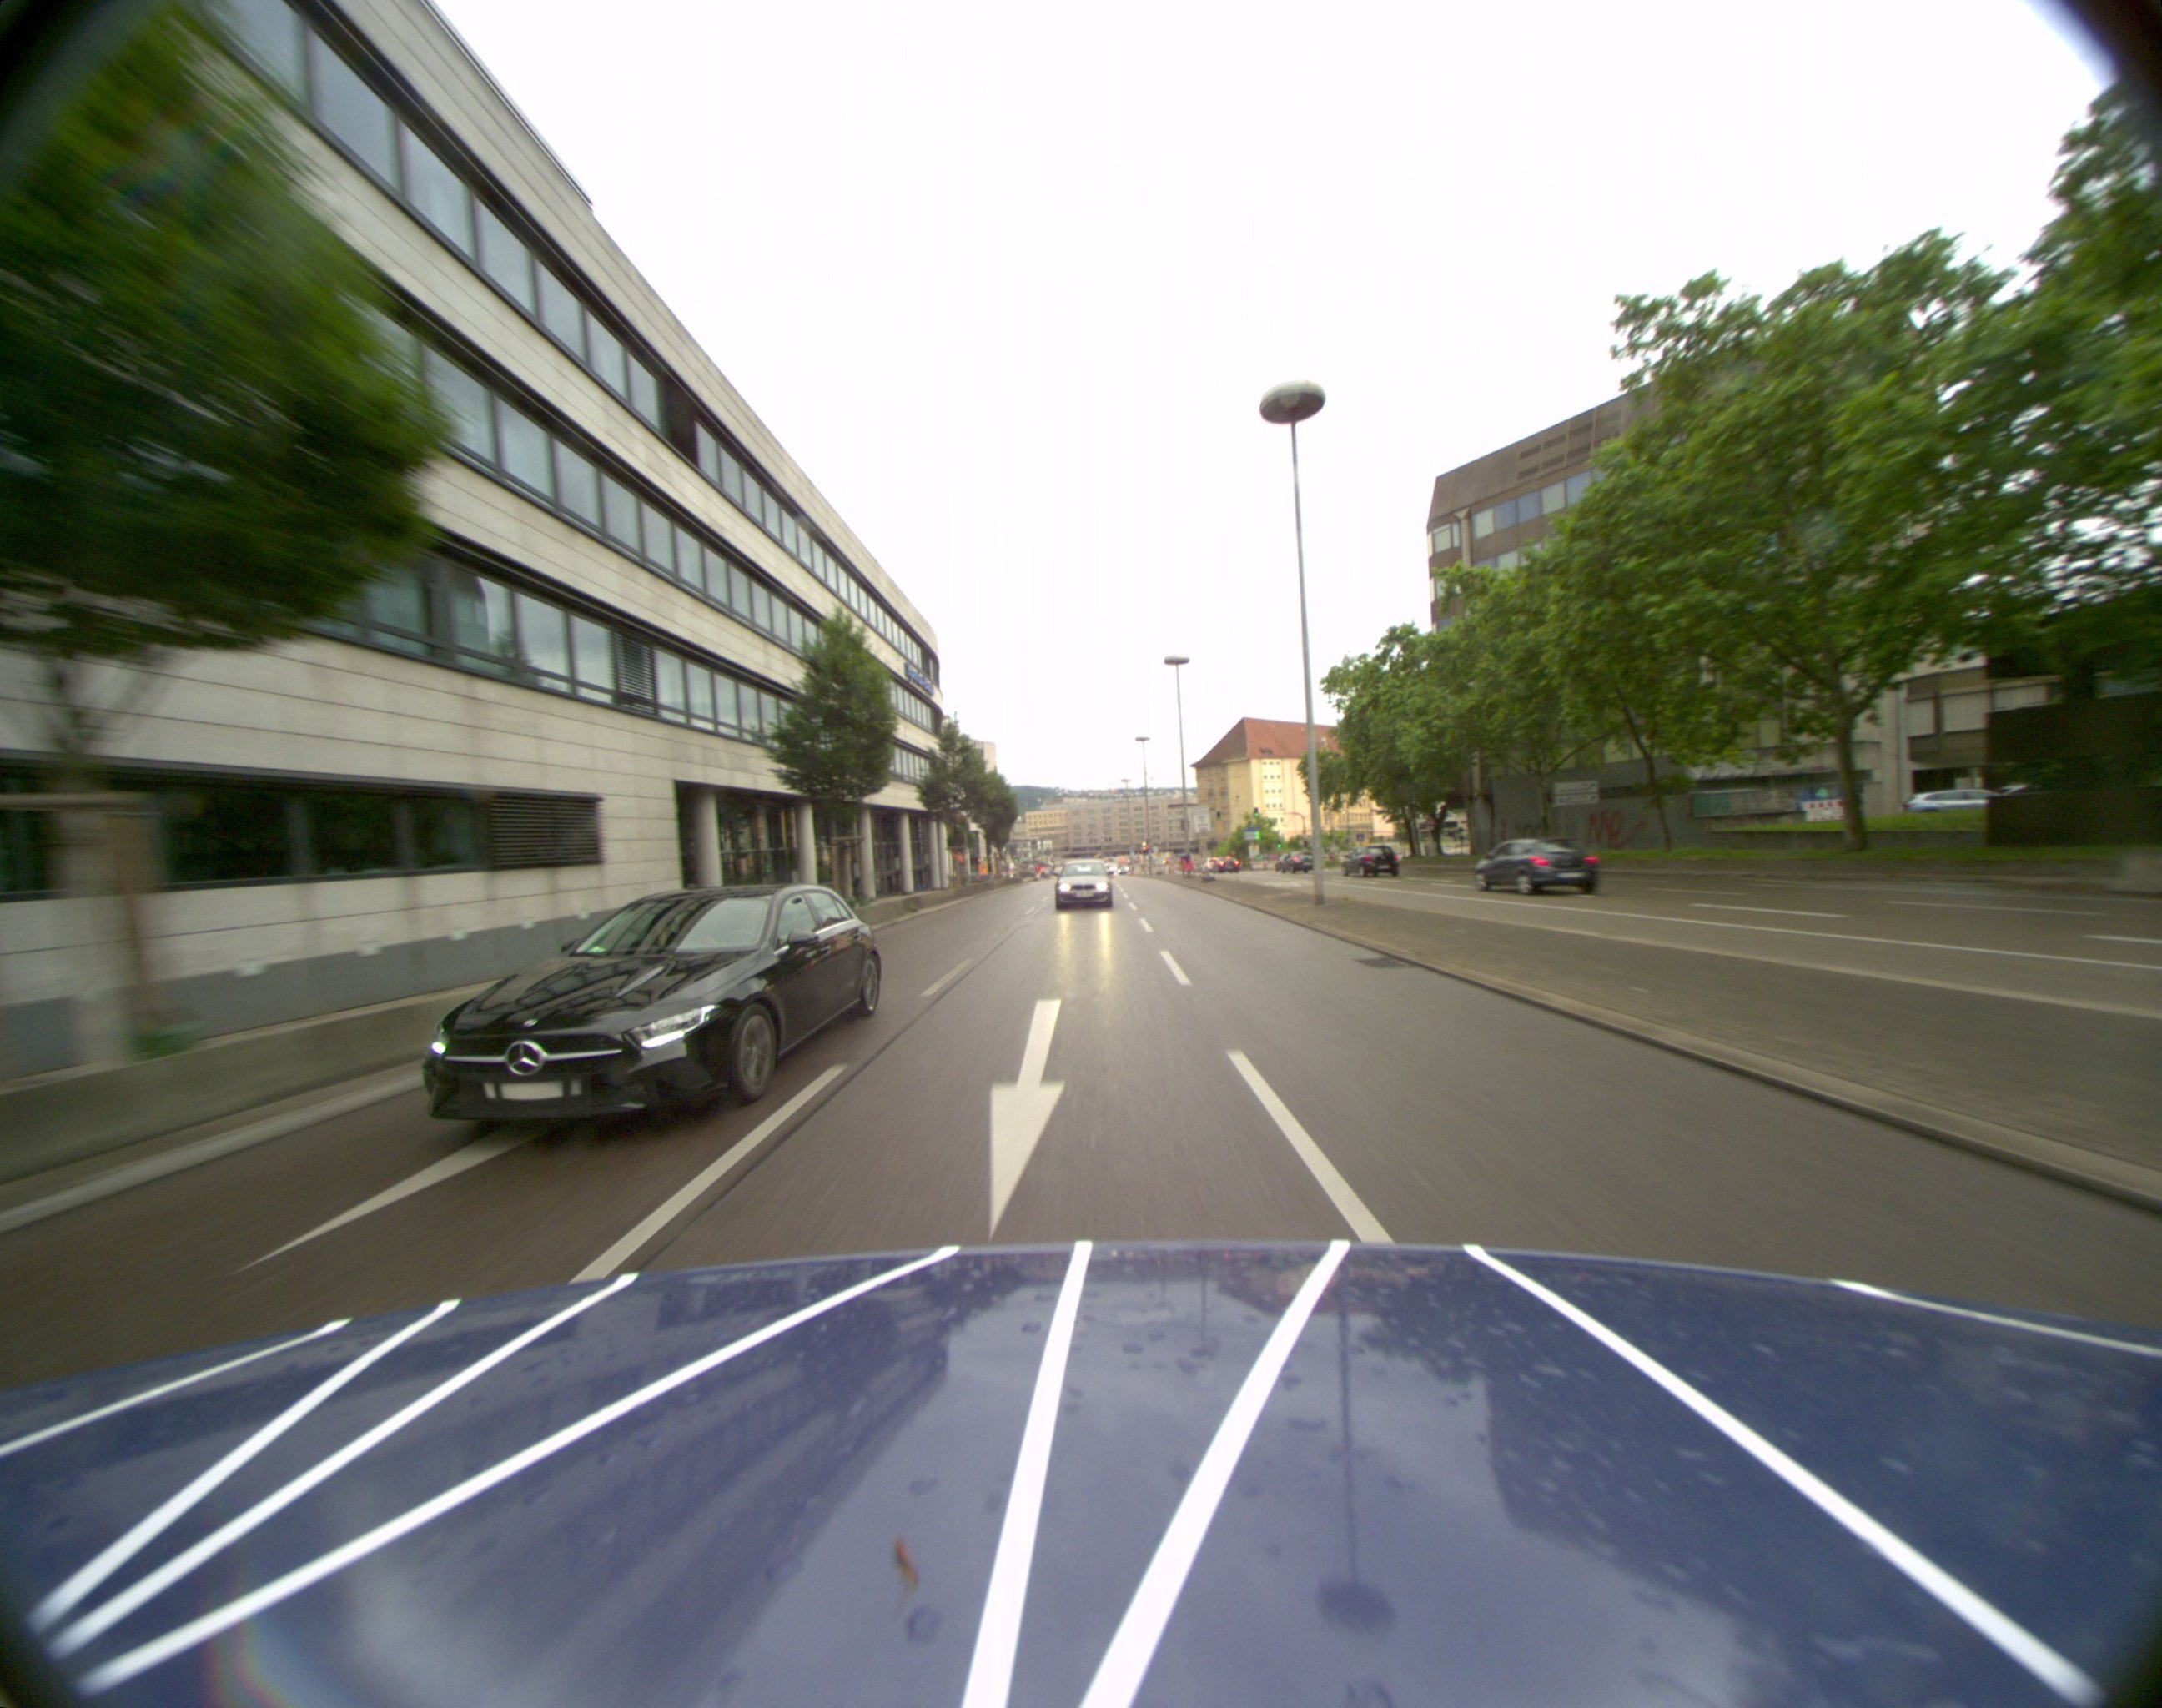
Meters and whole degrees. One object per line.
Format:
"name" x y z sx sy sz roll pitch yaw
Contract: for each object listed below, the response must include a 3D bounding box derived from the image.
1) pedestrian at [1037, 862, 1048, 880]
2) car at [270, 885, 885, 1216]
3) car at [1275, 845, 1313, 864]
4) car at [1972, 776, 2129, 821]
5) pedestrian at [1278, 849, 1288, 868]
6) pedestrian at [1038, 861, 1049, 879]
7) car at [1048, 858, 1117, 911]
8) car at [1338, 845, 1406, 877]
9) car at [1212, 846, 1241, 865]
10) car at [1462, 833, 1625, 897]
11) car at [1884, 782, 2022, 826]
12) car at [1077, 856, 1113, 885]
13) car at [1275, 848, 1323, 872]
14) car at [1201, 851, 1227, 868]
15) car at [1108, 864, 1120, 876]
"pedestrian" -4.199 1.865 82.513 0.992 1.936 0.767 -2 1 4
"car" -3.077 1.076 5.921 1.877 1.428 4.205 -3 0 1
"car" 18.006 0.035 64.412 1.938 1.491 4.506 -3 0 1
"car" 44.909 -2.535 35.340 3.990 1.707 2.003 -3 0 26
"pedestrian" 21.262 0.501 79.991 0.812 2.002 0.662 -3 1 -29
"pedestrian" -4.090 1.731 83.616 0.765 1.936 0.994 -2 1 20
"car" 0.140 0.886 23.907 1.863 1.428 4.206 -2 0 3
"car" 14.225 0.322 37.367 1.938 1.428 4.077 -2 0 3
"car" 12.391 0.118 65.009 1.798 1.477 3.864 -3 0 1
"car" 12.289 0.296 20.570 1.938 1.491 4.174 -2 -1 2
"car" 40.092 -2.245 35.084 3.989 1.707 2.004 -2 1 43
"car" 0.787 0.870 41.928 1.863 1.449 4.206 -1 0 2
"car" 14.514 0.381 50.837 1.938 1.428 4.507 -2 0 1
"car" 12.539 0.522 71.775 1.798 1.477 3.864 -2 0 1
"car" 5.853 2.899 135.850 1.998 2.002 4.001 -2 0 4
